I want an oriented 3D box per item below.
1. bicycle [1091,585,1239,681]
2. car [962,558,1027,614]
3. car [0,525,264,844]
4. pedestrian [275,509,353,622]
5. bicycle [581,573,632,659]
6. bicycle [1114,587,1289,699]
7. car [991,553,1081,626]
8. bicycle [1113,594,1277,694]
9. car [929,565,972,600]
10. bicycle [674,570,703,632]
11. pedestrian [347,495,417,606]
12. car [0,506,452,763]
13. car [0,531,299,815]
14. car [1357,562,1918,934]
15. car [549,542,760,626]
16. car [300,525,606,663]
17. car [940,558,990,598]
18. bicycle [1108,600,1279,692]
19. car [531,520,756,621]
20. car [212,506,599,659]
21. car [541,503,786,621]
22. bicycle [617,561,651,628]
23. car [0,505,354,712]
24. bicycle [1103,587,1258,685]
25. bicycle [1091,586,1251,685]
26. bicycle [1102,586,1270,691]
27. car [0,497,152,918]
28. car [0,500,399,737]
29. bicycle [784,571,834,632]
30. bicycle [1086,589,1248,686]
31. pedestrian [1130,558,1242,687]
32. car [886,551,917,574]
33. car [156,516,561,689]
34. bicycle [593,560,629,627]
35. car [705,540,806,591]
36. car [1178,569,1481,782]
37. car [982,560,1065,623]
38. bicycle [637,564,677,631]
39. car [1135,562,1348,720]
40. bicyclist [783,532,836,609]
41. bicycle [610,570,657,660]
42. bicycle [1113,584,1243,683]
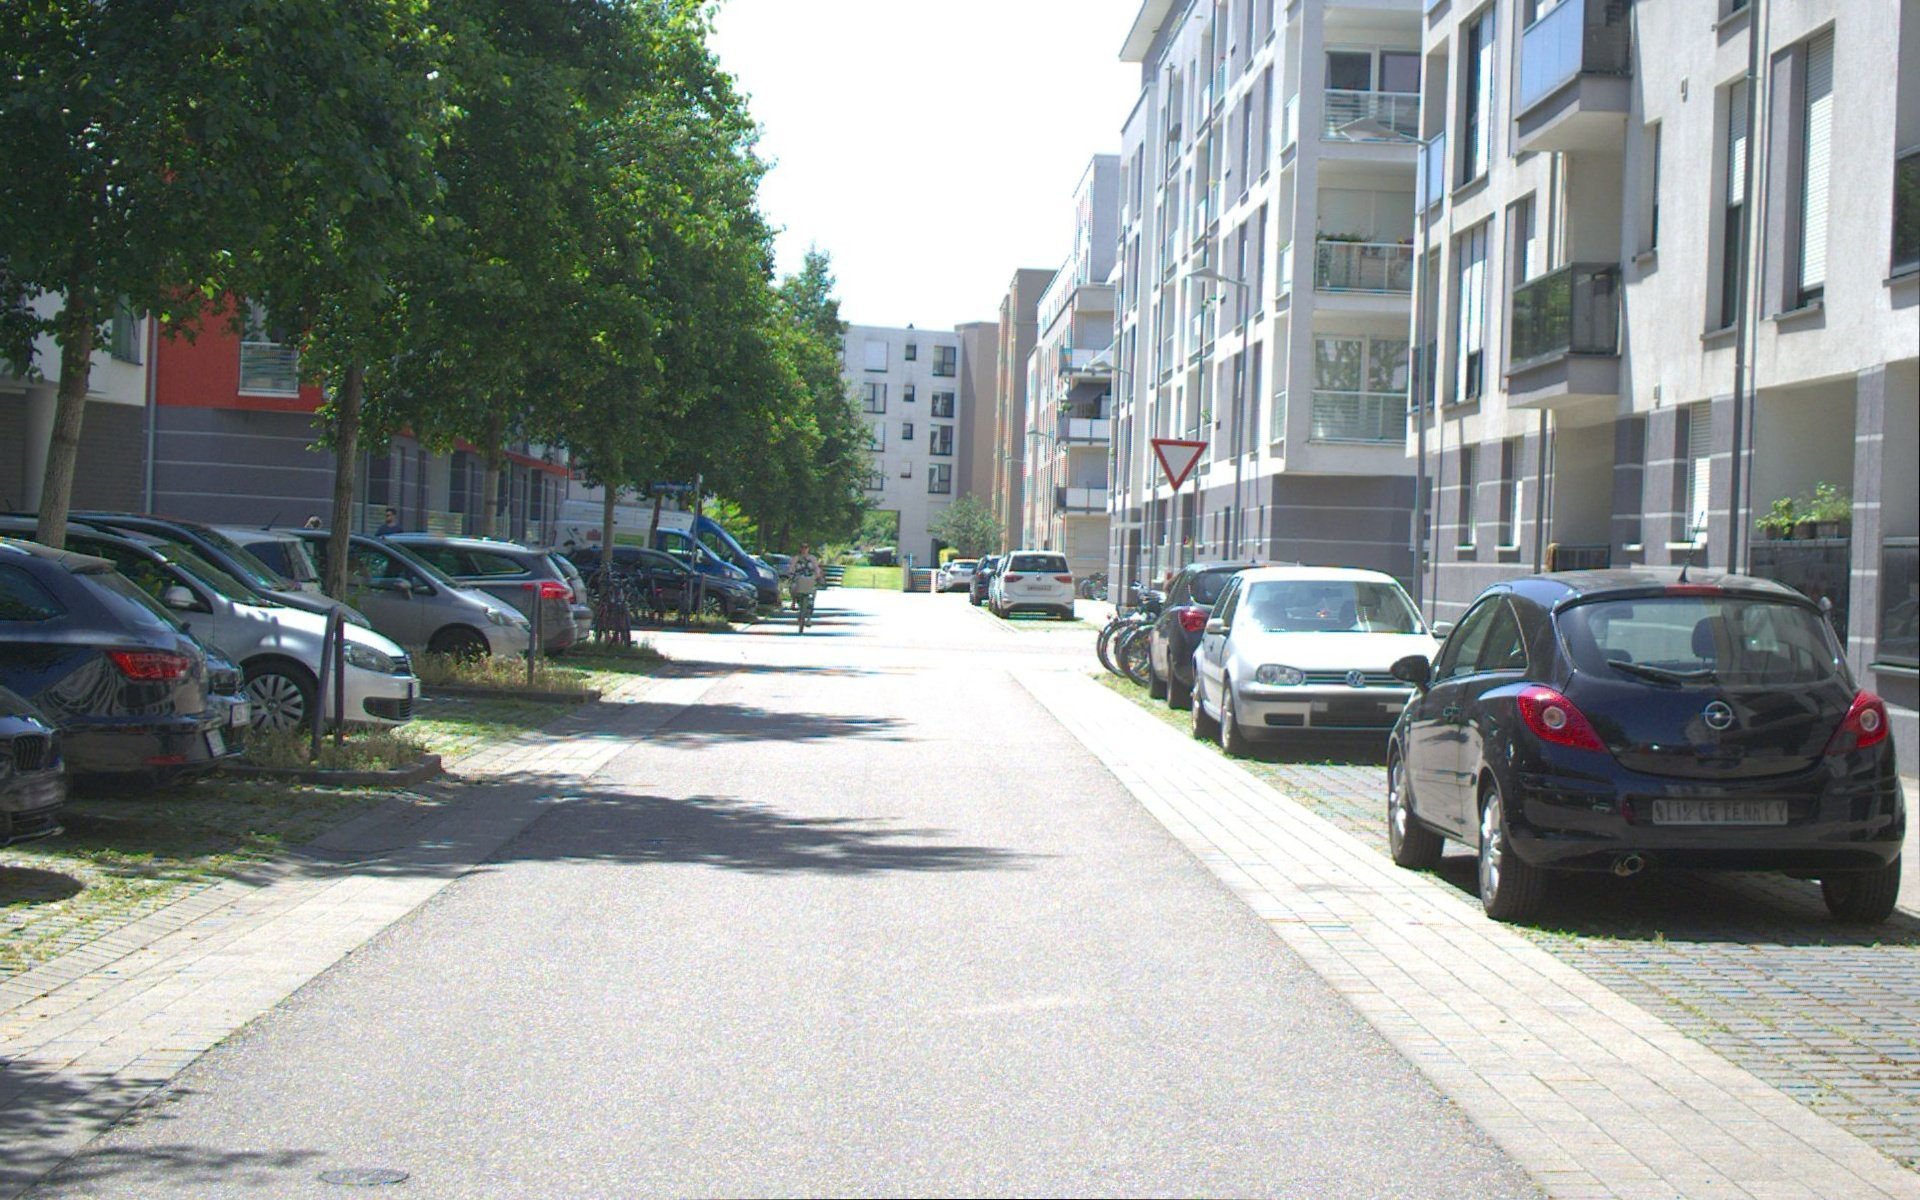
[{"bbox_3d":[2.625,0.419,44.196,1.859,1.189,0.687,1,0,2],"label":"bicycle"},{"bbox_3d":[1.062,-0.423,103.039,1.757,1.547,4.000,3,1,2],"label":"car"},{"bbox_3d":[-5.605,0.295,17.002,3.973,1.440,1.776,4,0,-5],"label":"car"},{"bbox_3d":[-9.922,-0.527,52.834,1.000,1.684,0.832,2,0,0],"label":"pedestrian"},{"bbox_3d":[-4.843,0.211,47.033,0.433,1.124,1.979,2,1,-13],"label":"bicycle"},{"bbox_3d":[2.744,0.482,39.148,1.869,1.213,0.715,1,0,-4],"label":"bicycle"},{"bbox_3d":[1.815,-0.278,82.936,1.997,1.651,4.115,2,1,0],"label":"car"},{"bbox_3d":[2.718,0.506,39.894,1.786,1.100,0.747,1,0,-4],"label":"bicycle"},{"bbox_3d":[-0.500,-0.910,178.812,1.993,1.711,4.000,2,1,-2],"label":"car"},{"bbox_3d":[-5.193,0.016,65.762,0.466,1.138,1.926,2,1,-3],"label":"bicycle"},{"bbox_3d":[-10.717,-0.924,63.737,1.009,2.007,1.129,2,1,2],"label":"pedestrian"},{"bbox_3d":[-5.857,0.213,24.132,4.360,1.704,2.000,1,1,-3],"label":"car"},{"bbox_3d":[-5.986,0.298,19.593,3.987,1.417,1.897,4,1,0],"label":"car"},{"bbox_3d":[2.945,0.569,15.793,1.642,1.457,4.118,1,1,-2],"label":"car"},{"bbox_3d":[-6.690,-0.360,75.646,4.383,1.509,2.075,4,1,-1],"label":"car"},{"bbox_3d":[-6.527,-0.087,44.521,3.630,1.515,1.832,4,1,-1],"label":"car"},{"bbox_3d":[0.200,-0.996,151.587,1.993,1.669,4.000,2,1,-2],"label":"car"},{"bbox_3d":[2.753,0.546,40.589,1.923,1.031,0.559,1,0,-4],"label":"bicycle"},{"bbox_3d":[-7.586,-0.721,82.820,5.145,2.112,2.312,3,1,-1],"label":"car"},{"bbox_3d":[-6.321,-0.192,39.607,4.180,1.481,1.959,3,-1,-4],"label":"car"},{"bbox_3d":[-7.557,-0.984,88.250,6.023,2.807,2.605,2,1,-1],"label":"car"},{"bbox_3d":[-6.210,-0.107,65.537,0.434,1.200,1.700,4,2,0],"label":"bicycle"},{"bbox_3d":[-6.866,0.054,29.539,2.932,1.495,1.848,5,1,-2],"label":"car"},{"bbox_3d":[2.685,0.439,41.833,1.833,1.144,0.461,1,0,-20],"label":"bicycle"},{"bbox_3d":[2.631,0.438,42.804,1.924,1.175,0.638,1,0,8],"label":"bicycle"},{"bbox_3d":[2.708,0.462,41.250,1.923,1.213,0.461,1,0,-10],"label":"bicycle"},{"bbox_3d":[-5.674,0.287,14.473,3.987,1.645,1.918,4,1,1],"label":"car"},{"bbox_3d":[-6.303,0.098,26.542,3.707,1.580,1.821,4,0,-6],"label":"car"},{"bbox_3d":[-2.912,0.015,66.438,0.898,1.125,2.040,2,1,-2],"label":"bicycle"},{"bbox_3d":[2.543,0.457,42.198,1.924,1.129,0.609,1,0,8],"label":"bicycle"},{"bbox_3d":[2.713,0.269,41.375,1.178,1.509,0.688,1,1,-10],"label":"pedestrian"},{"bbox_3d":[-3.991,-2.578,234.955,1.993,1.514,4.000,2,1,-2],"label":"car"},{"bbox_3d":[-6.369,0.012,36.708,3.937,1.548,1.872,4,1,-1],"label":"car"},{"bbox_3d":[-6.679,-0.140,65.785,0.518,1.200,1.752,4,2,-3],"label":"bicycle"},{"bbox_3d":[-8.739,-1.457,147.084,3.988,2.007,2.000,2,1,6],"label":"car"},{"bbox_3d":[2.827,0.529,27.182,1.834,1.499,4.351,1,1,-1],"label":"car"},{"bbox_3d":[1.621,-0.233,88.636,1.993,1.519,4.000,2,1,0],"label":"car"},{"bbox_3d":[-5.777,-0.058,65.536,0.570,1.170,1.769,5,2,-8],"label":"bicycle"},{"bbox_3d":[2.842,0.375,35.501,1.738,1.480,4.229,1,1,-1],"label":"car"},{"bbox_3d":[-2.906,-0.570,66.350,0.954,1.454,0.800,2,1,-2],"label":"bicyclist"},{"bbox_3d":[-4.481,0.196,47.065,0.371,1.176,1.821,2,1,-13],"label":"bicycle"},{"bbox_3d":[2.748,0.420,43.487,1.550,1.213,0.708,1,0,-2],"label":"bicycle"}]
